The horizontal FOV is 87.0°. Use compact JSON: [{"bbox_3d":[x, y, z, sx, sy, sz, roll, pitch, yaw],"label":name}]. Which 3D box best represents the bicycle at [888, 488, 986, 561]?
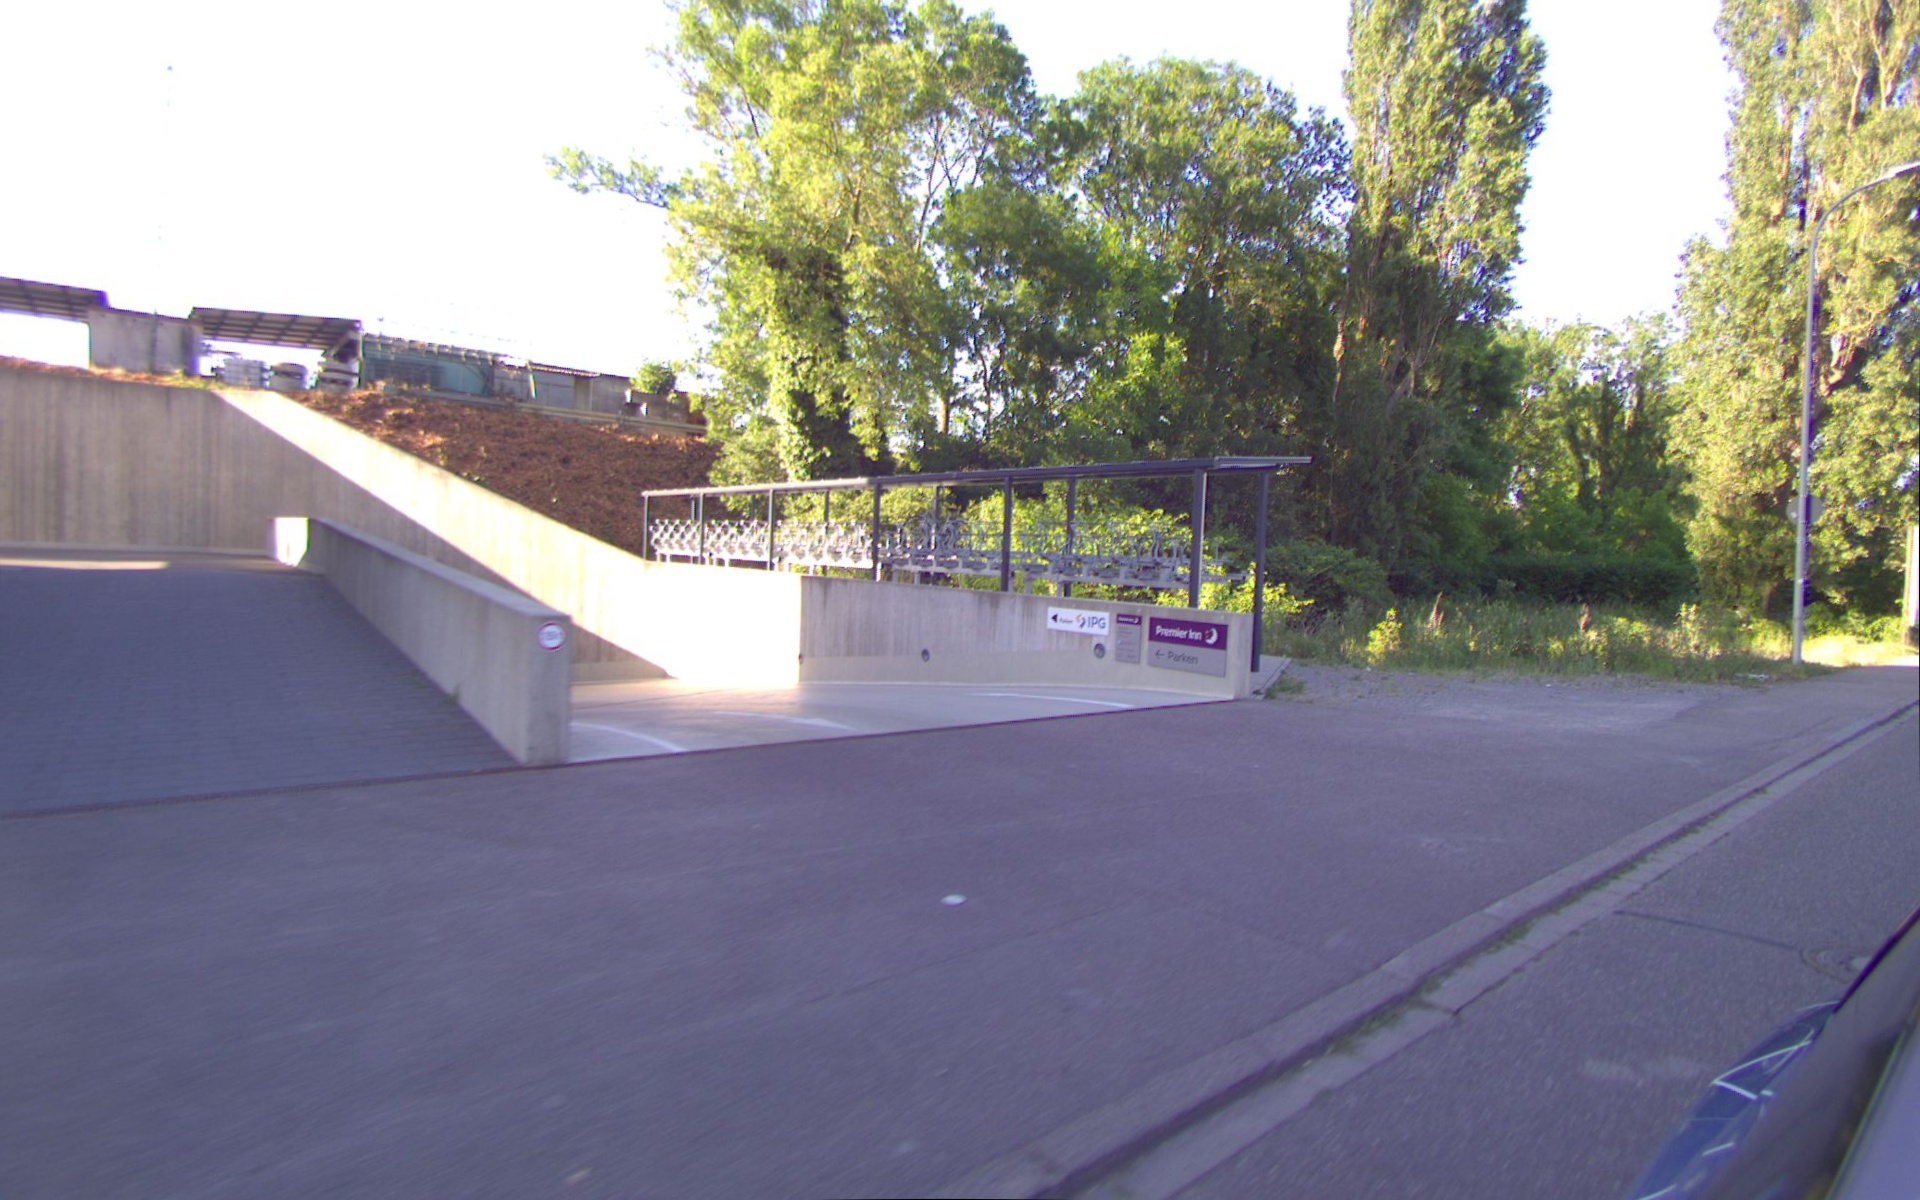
[{"bbox_3d":[-0.432,-1.450,19.776,1.955,1.337,0.632,-1,3,-41],"label":"bicycle"}]
